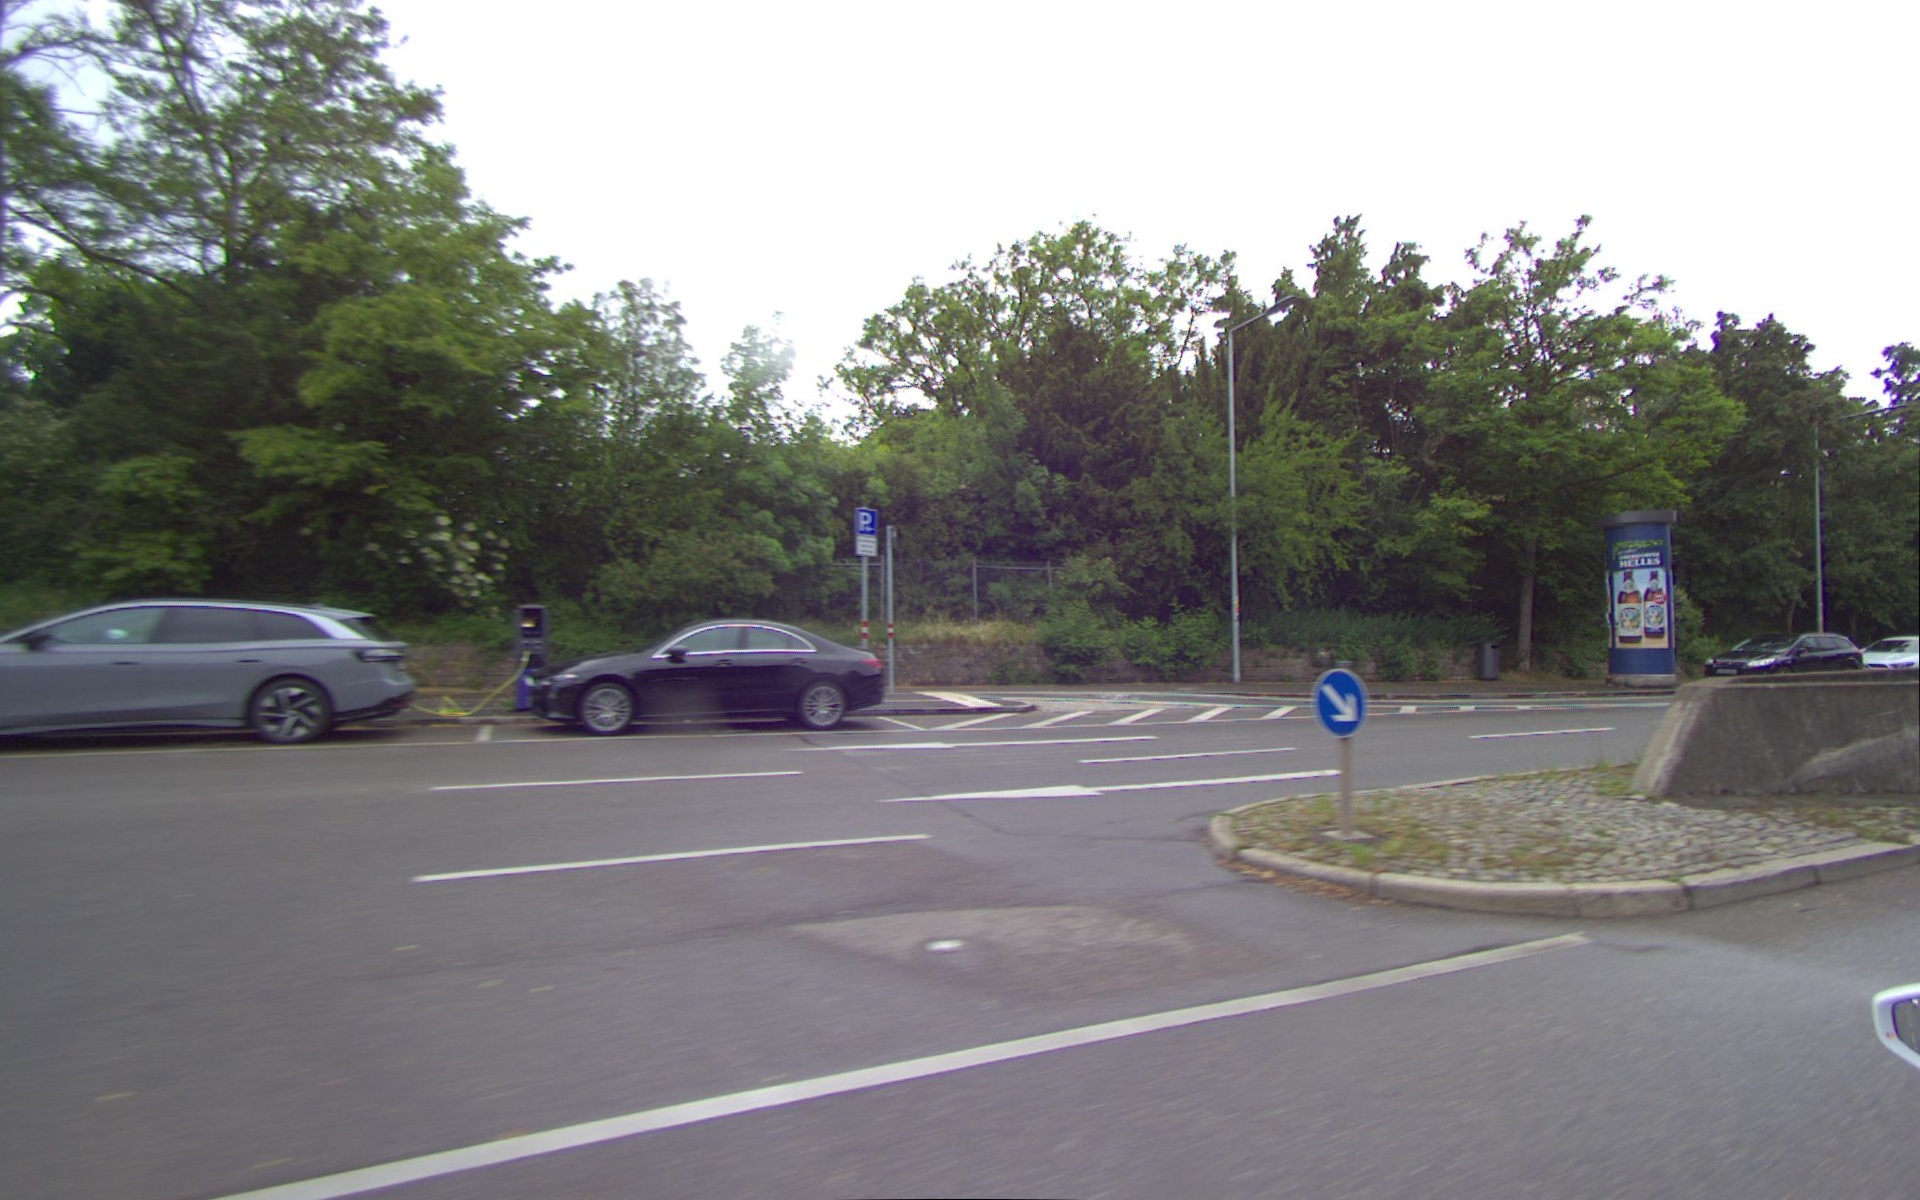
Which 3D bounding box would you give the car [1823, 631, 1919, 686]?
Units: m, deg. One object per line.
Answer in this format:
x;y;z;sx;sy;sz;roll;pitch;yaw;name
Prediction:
27.130;1.625;28.809;4.641;1.479;1.715;1;-2;-23;car

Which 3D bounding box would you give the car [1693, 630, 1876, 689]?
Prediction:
21.885;1.528;26.658;4.518;1.464;1.747;1;-2;-21;car

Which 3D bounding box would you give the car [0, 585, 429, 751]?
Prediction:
-8.711;0.706;11.071;4.860;1.610;1.836;2;-1;-24;car

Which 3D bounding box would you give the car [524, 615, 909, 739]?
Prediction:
-3.229;0.970;13.428;4.716;1.433;1.901;2;-1;-24;car
